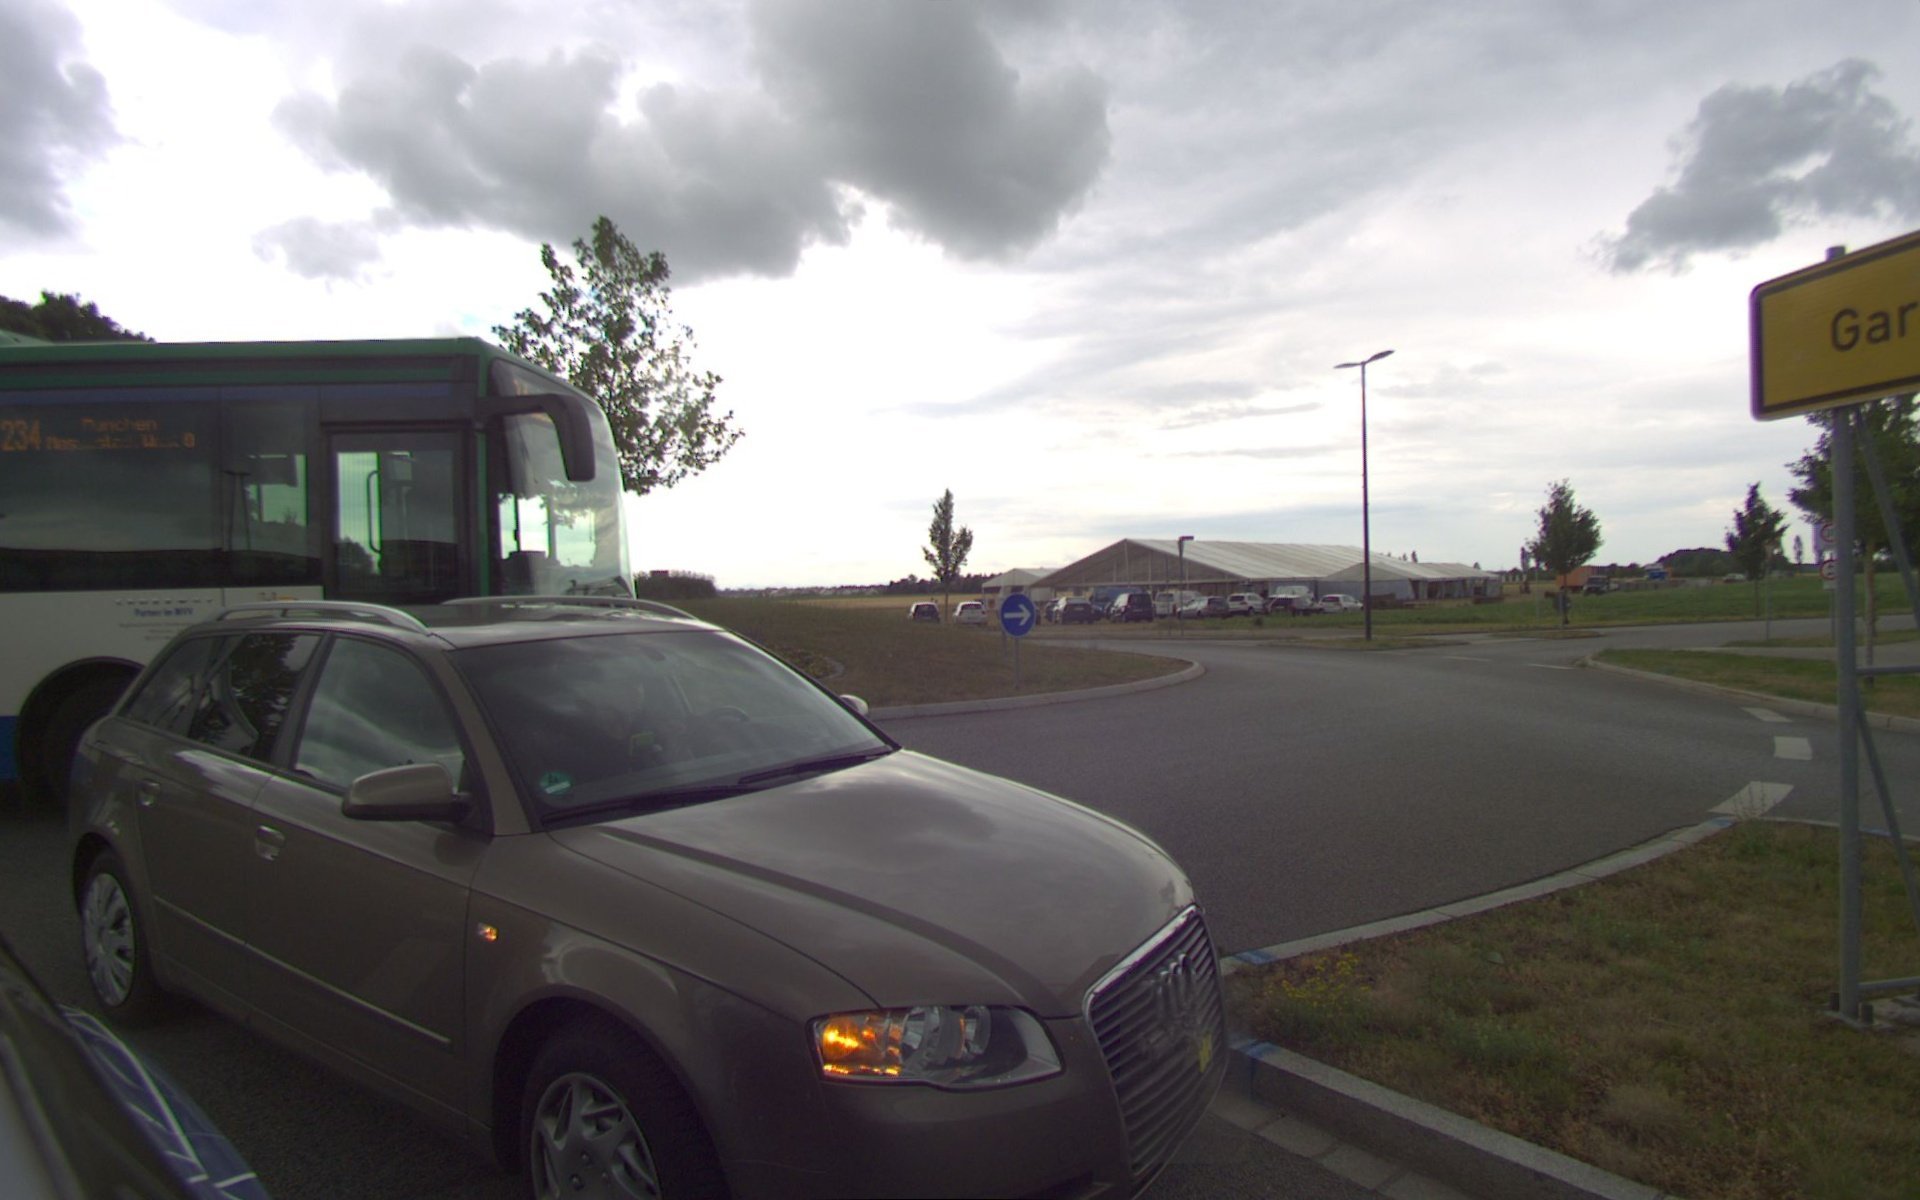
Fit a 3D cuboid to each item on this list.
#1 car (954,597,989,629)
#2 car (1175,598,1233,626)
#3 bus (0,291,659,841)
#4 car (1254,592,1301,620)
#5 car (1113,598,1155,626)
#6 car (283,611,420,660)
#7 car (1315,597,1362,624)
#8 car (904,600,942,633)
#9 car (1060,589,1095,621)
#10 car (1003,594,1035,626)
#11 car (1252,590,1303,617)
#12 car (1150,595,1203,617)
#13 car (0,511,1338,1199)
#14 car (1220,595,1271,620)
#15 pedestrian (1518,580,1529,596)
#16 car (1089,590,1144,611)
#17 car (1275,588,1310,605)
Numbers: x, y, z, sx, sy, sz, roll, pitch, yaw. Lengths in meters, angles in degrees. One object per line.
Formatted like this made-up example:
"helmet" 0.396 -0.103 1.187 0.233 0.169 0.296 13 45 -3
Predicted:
"car" 0.692 0.704 57.434 1.694 1.564 3.996 -4 2 4
"car" 14.751 0.702 61.299 1.705 1.618 3.887 -2 0 -15
"bus" -5.751 -0.202 7.300 6.454 3.283 2.526 0 0 -1
"car" 19.068 0.337 60.901 1.613 1.618 3.875 -2 0 1
"car" 9.918 0.646 57.908 1.926 1.453 3.996 -1 0 3
"car" -22.477 1.301 37.421 4.406 1.638 1.707 -2 0 13
"car" 24.374 0.664 65.061 1.729 1.565 3.950 -1 0 37
"car" -2.041 0.887 57.318 1.694 1.564 3.996 -4 2 4
"car" 6.744 0.282 58.222 1.694 1.564 3.996 -4 2 4
"car" 3.346 0.529 57.472 1.694 1.564 3.996 -4 2 4
"car" 21.065 0.223 67.119 1.835 1.618 3.776 -1 0 42
"car" 15.209 0.425 71.017 1.951 1.453 3.945 -1 0 41
"car" -1.316 0.648 3.339 4.527 1.476 1.764 -1 0 33
"car" 19.458 0.505 68.981 1.835 1.618 3.776 -1 0 42
"pedestrian" 74.564 -1.556 133.999 1.051 2.029 1.046 -1 1 41
"car" 12.000 0.010 77.602 3.935 1.453 1.956 -2 0 -36
"car" 32.396 -0.346 98.621 1.835 1.618 3.776 -1 0 42
